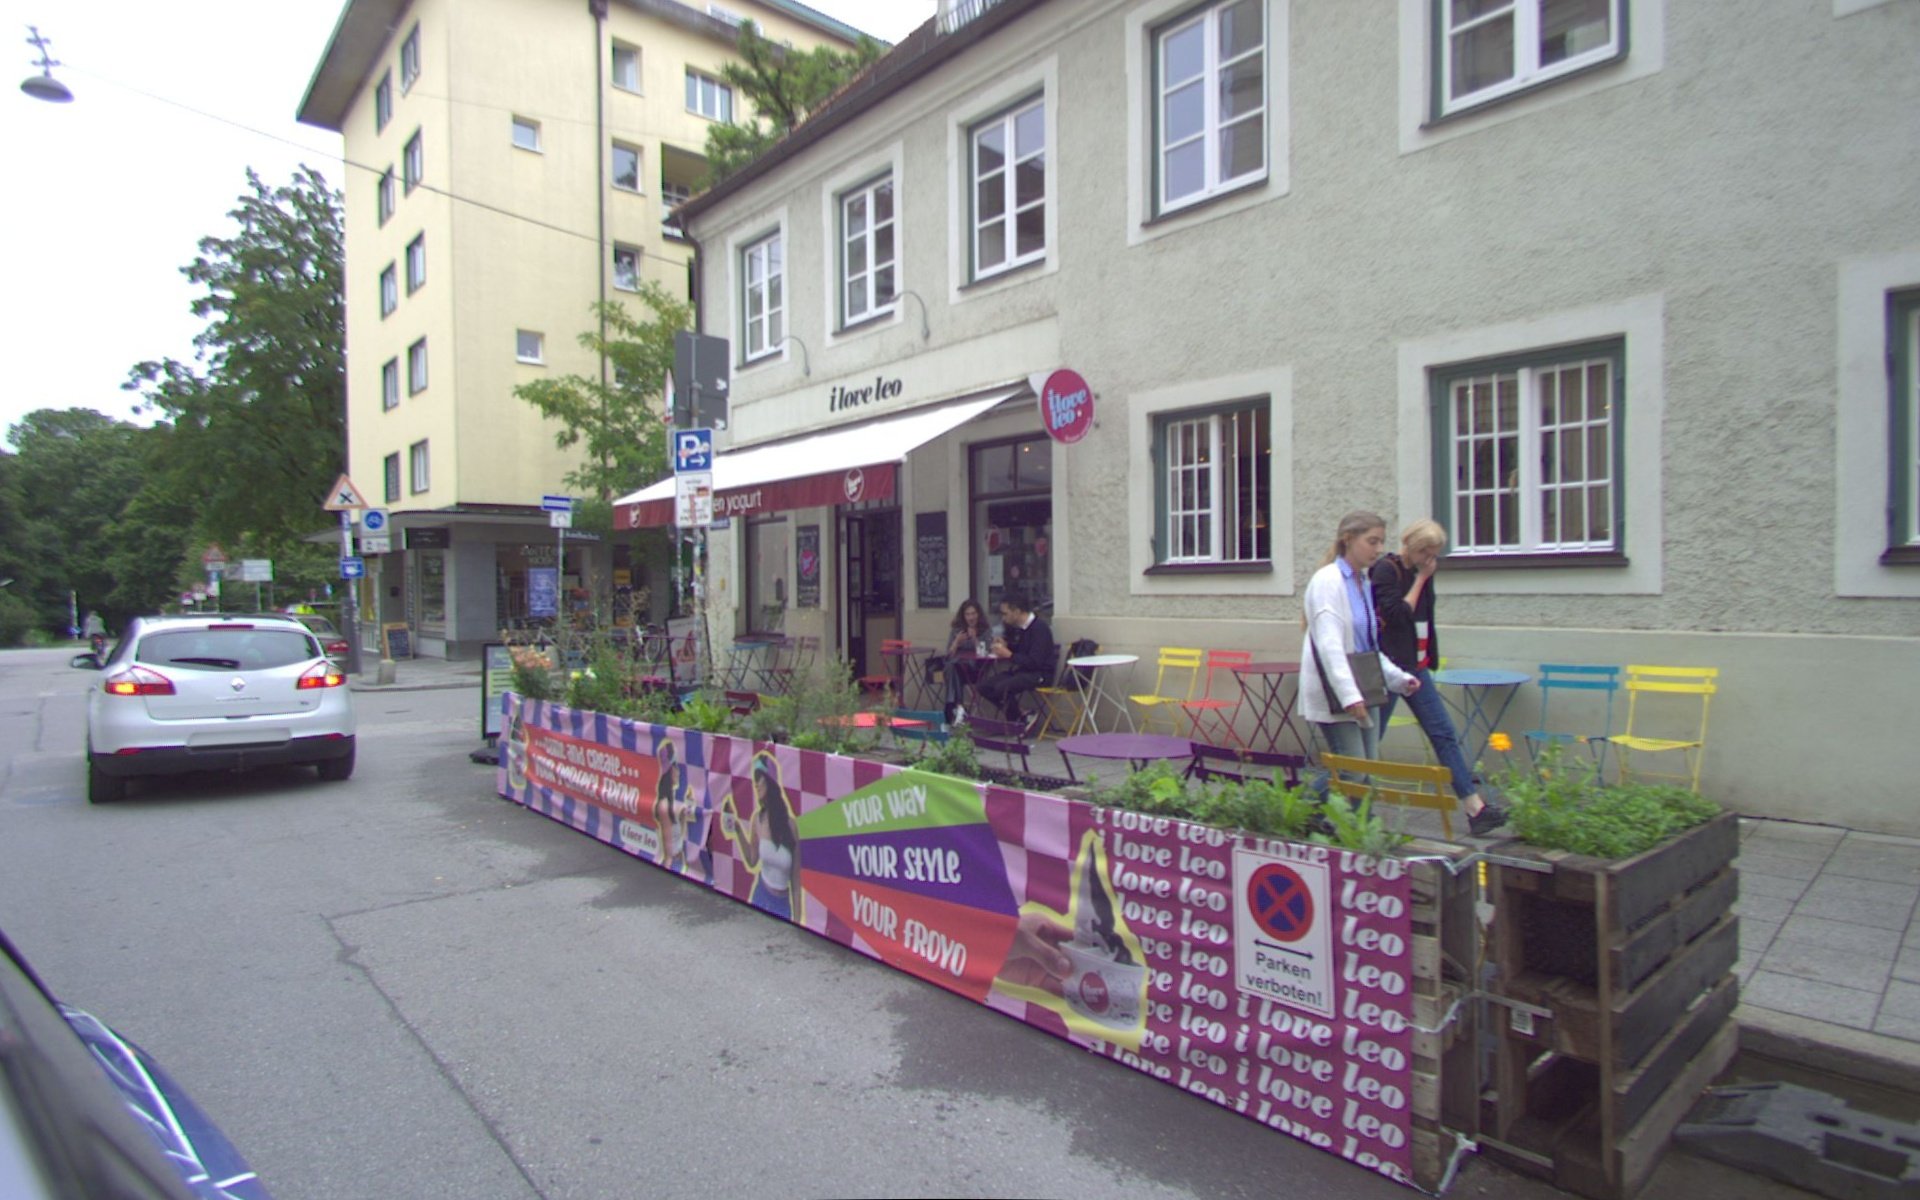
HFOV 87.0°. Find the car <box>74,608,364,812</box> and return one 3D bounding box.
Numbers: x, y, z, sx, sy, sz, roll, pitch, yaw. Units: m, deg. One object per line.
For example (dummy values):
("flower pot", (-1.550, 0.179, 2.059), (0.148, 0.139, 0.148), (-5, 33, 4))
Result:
("car", (-6.841, 0.803, 9.170), (1.766, 1.428, 3.910), (0, -1, -42))

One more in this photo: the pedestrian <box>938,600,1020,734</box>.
("pedestrian", (0.175, 0.635, 9.794), (0.501, 1.222, 0.596), (-3, -1, -27))

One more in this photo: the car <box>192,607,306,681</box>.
("car", (-16.362, 0.953, 23.204), (1.686, 1.511, 4.005), (-1, 0, -42))

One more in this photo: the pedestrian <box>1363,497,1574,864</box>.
("pedestrian", (2.607, 0.376, 5.206), (0.573, 1.711, 0.807), (-1, 0, -45))

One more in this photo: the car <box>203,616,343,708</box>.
("car", (-13.092, 1.090, 19.193), (1.686, 1.511, 4.005), (-1, 0, -42))

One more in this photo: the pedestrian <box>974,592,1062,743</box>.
("pedestrian", (0.513, 0.591, 9.064), (0.515, 1.275, 0.549), (-3, -1, -27))

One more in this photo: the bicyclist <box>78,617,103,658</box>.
("bicyclist", (-32.474, 1.392, 37.806), (0.641, 1.486, 0.768), (-2, 1, -38))

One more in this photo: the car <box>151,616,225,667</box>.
("car", (-26.080, 1.335, 34.137), (1.686, 1.571, 4.005), (-1, 0, -42))

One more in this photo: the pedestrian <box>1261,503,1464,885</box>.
("pedestrian", (1.872, 0.395, 4.711), (0.605, 1.610, 0.663), (-1, 0, -45))

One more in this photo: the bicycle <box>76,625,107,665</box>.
("bicycle", (-32.454, 1.669, 37.836), (0.678, 1.389, 2.403), (-2, 1, -37))

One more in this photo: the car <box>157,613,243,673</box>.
("car", (-22.146, 1.189, 29.439), (1.686, 1.571, 4.005), (-1, 0, -42))
